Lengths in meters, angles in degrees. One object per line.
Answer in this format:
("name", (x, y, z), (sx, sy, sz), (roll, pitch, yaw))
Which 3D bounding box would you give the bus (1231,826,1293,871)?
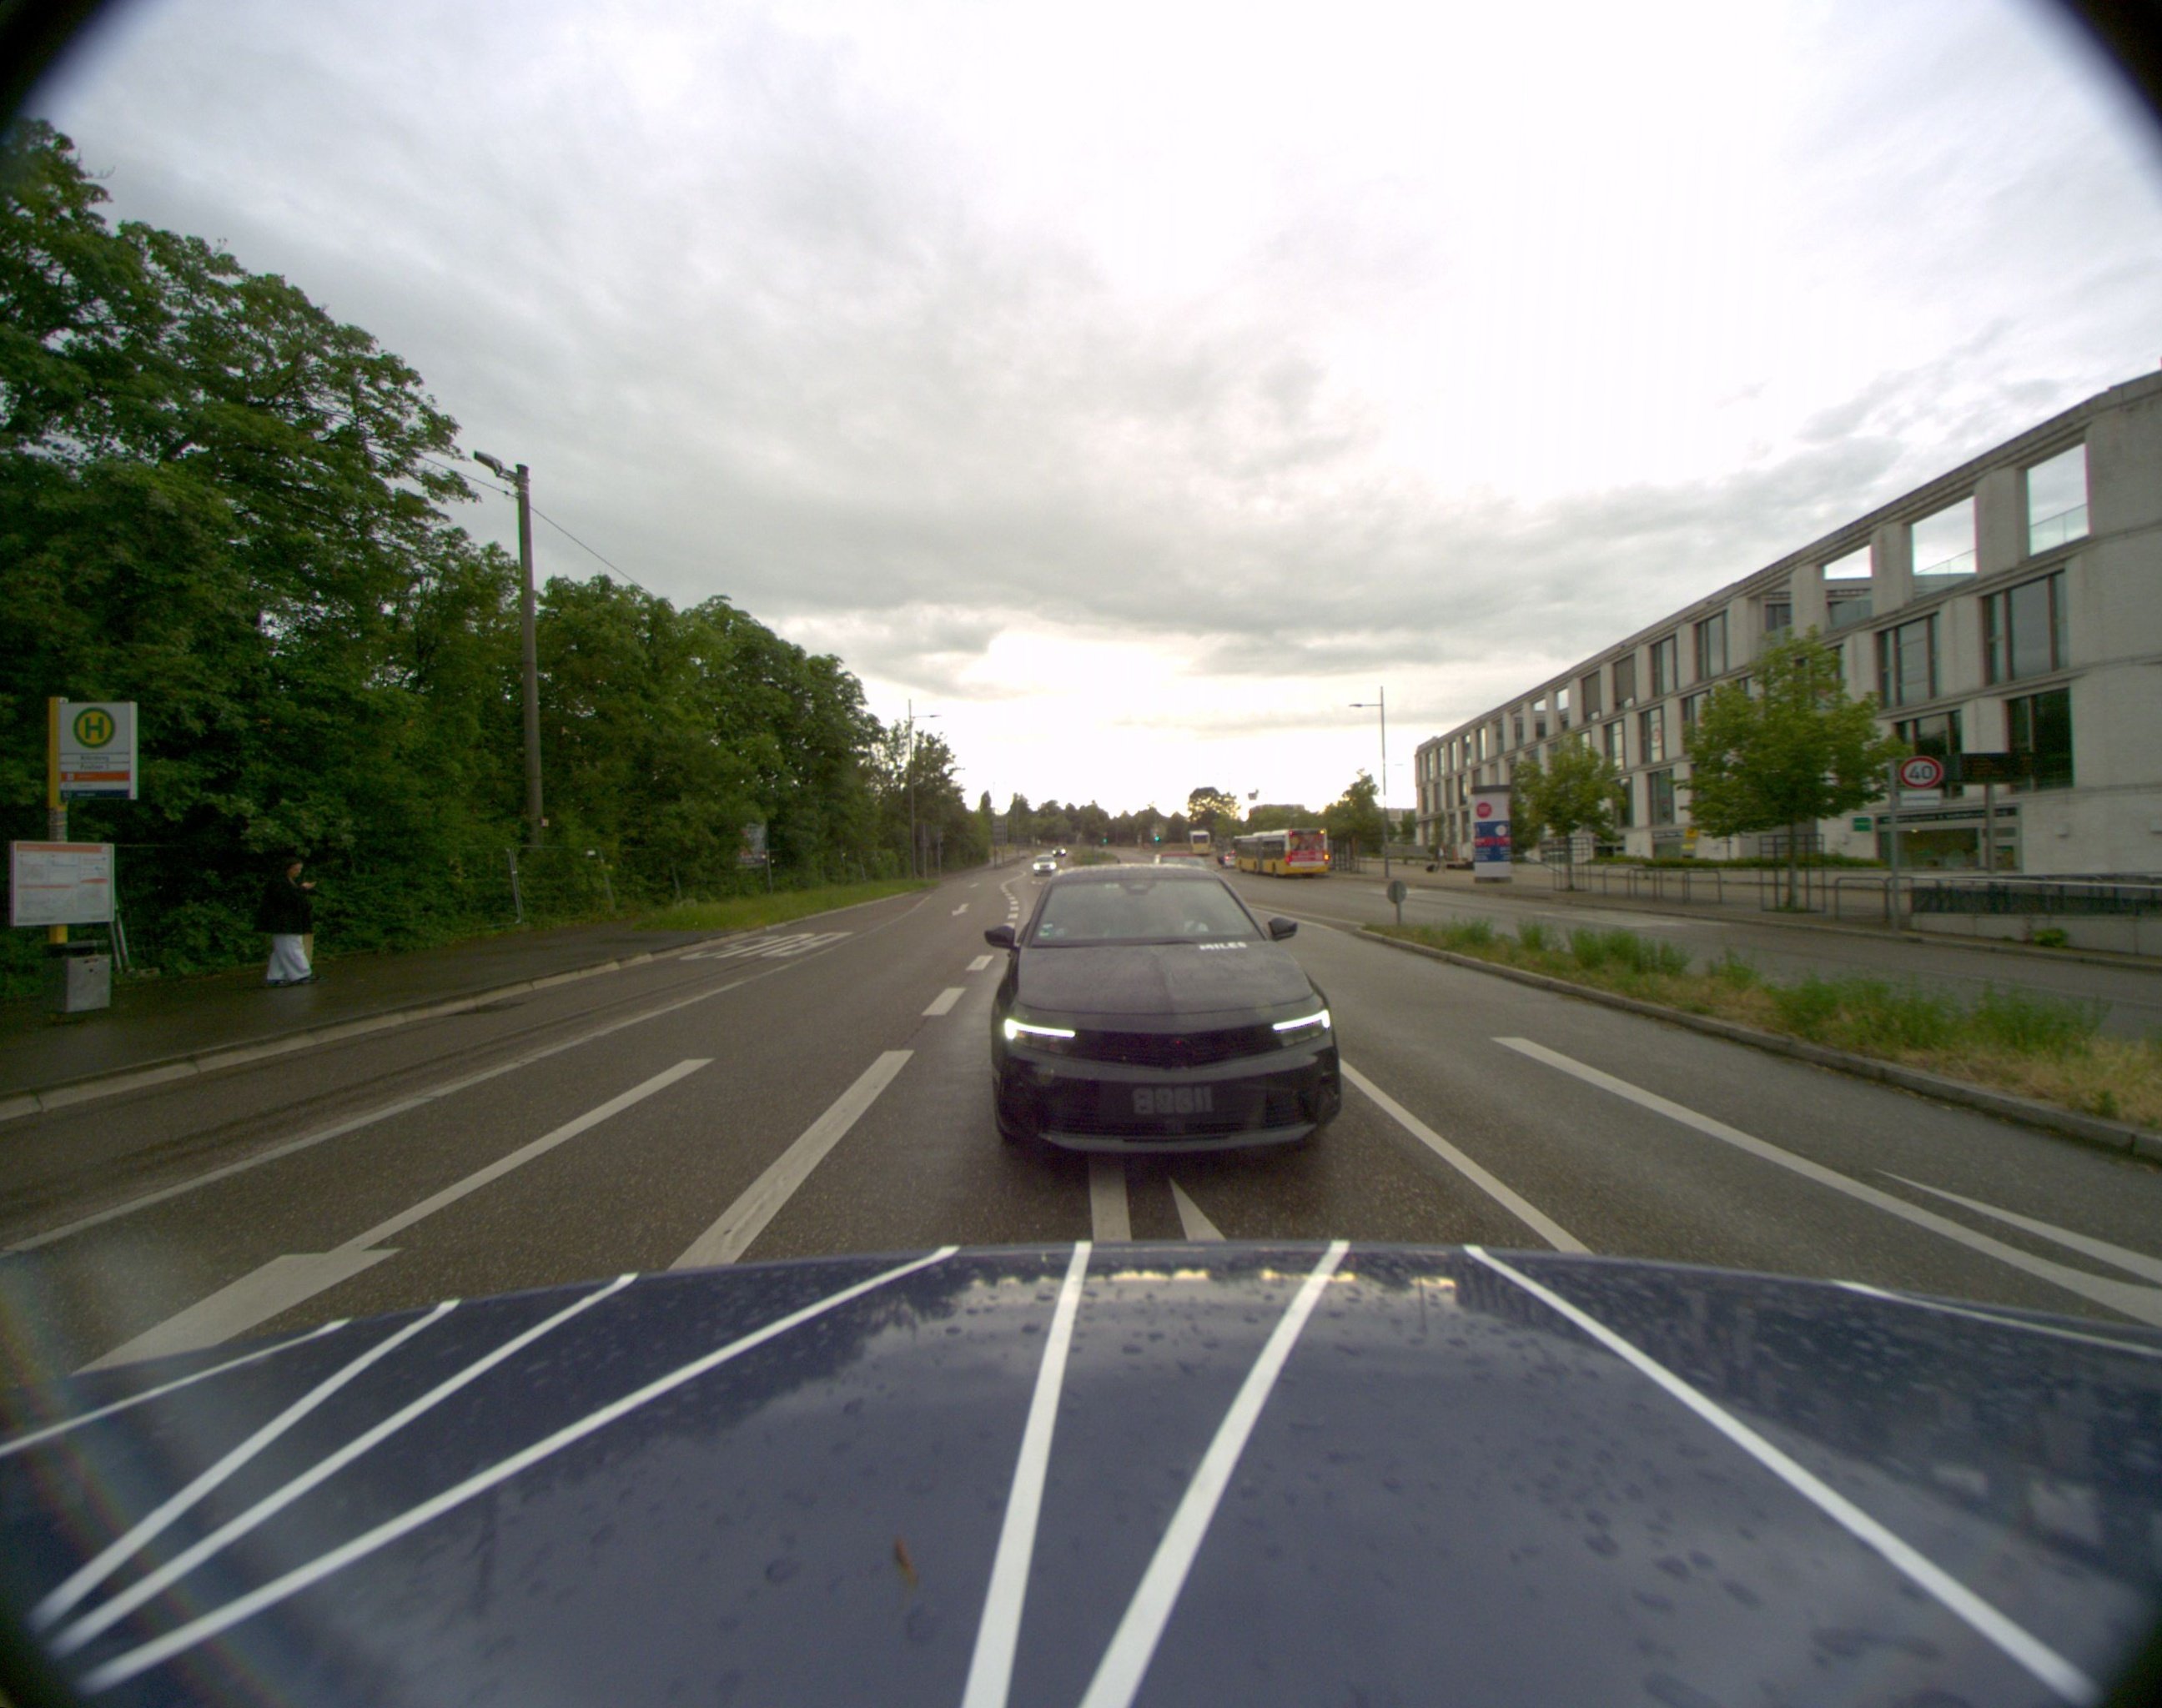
("bus", (14.109, -0.447, 60.029), (2.693, 3.163, 9.912), (-2, 1, 2))

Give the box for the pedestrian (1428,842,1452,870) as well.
("pedestrian", (20.663, 0.133, 43.751), (0.866, 1.572, 0.983), (-2, 1, -7))

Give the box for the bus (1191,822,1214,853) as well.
("bus", (18.401, -2.417, 114.077), (2.757, 4.129, 19.359), (-2, 1, 11))

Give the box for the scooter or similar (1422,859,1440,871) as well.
("scooter or similar", (20.361, 0.630, 44.263), (0.641, 0.648, 0.832), (-1, 1, -2))

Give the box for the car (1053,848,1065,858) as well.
("car", (-3.737, -0.145, 127.538), (1.934, 1.649, 4.617), (-1, 0, -2))

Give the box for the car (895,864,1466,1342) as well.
("car", (0.373, 0.892, 4.982), (1.901, 1.456, 4.767), (-2, 1, 1))

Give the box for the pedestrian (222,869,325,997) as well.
("pedestrian", (-10.606, 1.014, 10.002), (0.588, 1.618, 0.661), (-1, 1, 1))

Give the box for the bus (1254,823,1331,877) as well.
("bus", (13.819, -0.308, 50.524), (2.759, 3.194, 9.207), (-2, 1, 2))

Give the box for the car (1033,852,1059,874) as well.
("car", (-2.678, 0.659, 59.020), (1.901, 1.524, 4.766), (-2, 1, -2))

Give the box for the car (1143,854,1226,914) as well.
("car", (2.738, 0.756, 20.842), (1.631, 1.473, 3.505), (-1, 1, -3))

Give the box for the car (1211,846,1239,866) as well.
("car", (13.577, 0.164, 71.685), (1.867, 1.777, 3.999), (-2, 1, 1))
